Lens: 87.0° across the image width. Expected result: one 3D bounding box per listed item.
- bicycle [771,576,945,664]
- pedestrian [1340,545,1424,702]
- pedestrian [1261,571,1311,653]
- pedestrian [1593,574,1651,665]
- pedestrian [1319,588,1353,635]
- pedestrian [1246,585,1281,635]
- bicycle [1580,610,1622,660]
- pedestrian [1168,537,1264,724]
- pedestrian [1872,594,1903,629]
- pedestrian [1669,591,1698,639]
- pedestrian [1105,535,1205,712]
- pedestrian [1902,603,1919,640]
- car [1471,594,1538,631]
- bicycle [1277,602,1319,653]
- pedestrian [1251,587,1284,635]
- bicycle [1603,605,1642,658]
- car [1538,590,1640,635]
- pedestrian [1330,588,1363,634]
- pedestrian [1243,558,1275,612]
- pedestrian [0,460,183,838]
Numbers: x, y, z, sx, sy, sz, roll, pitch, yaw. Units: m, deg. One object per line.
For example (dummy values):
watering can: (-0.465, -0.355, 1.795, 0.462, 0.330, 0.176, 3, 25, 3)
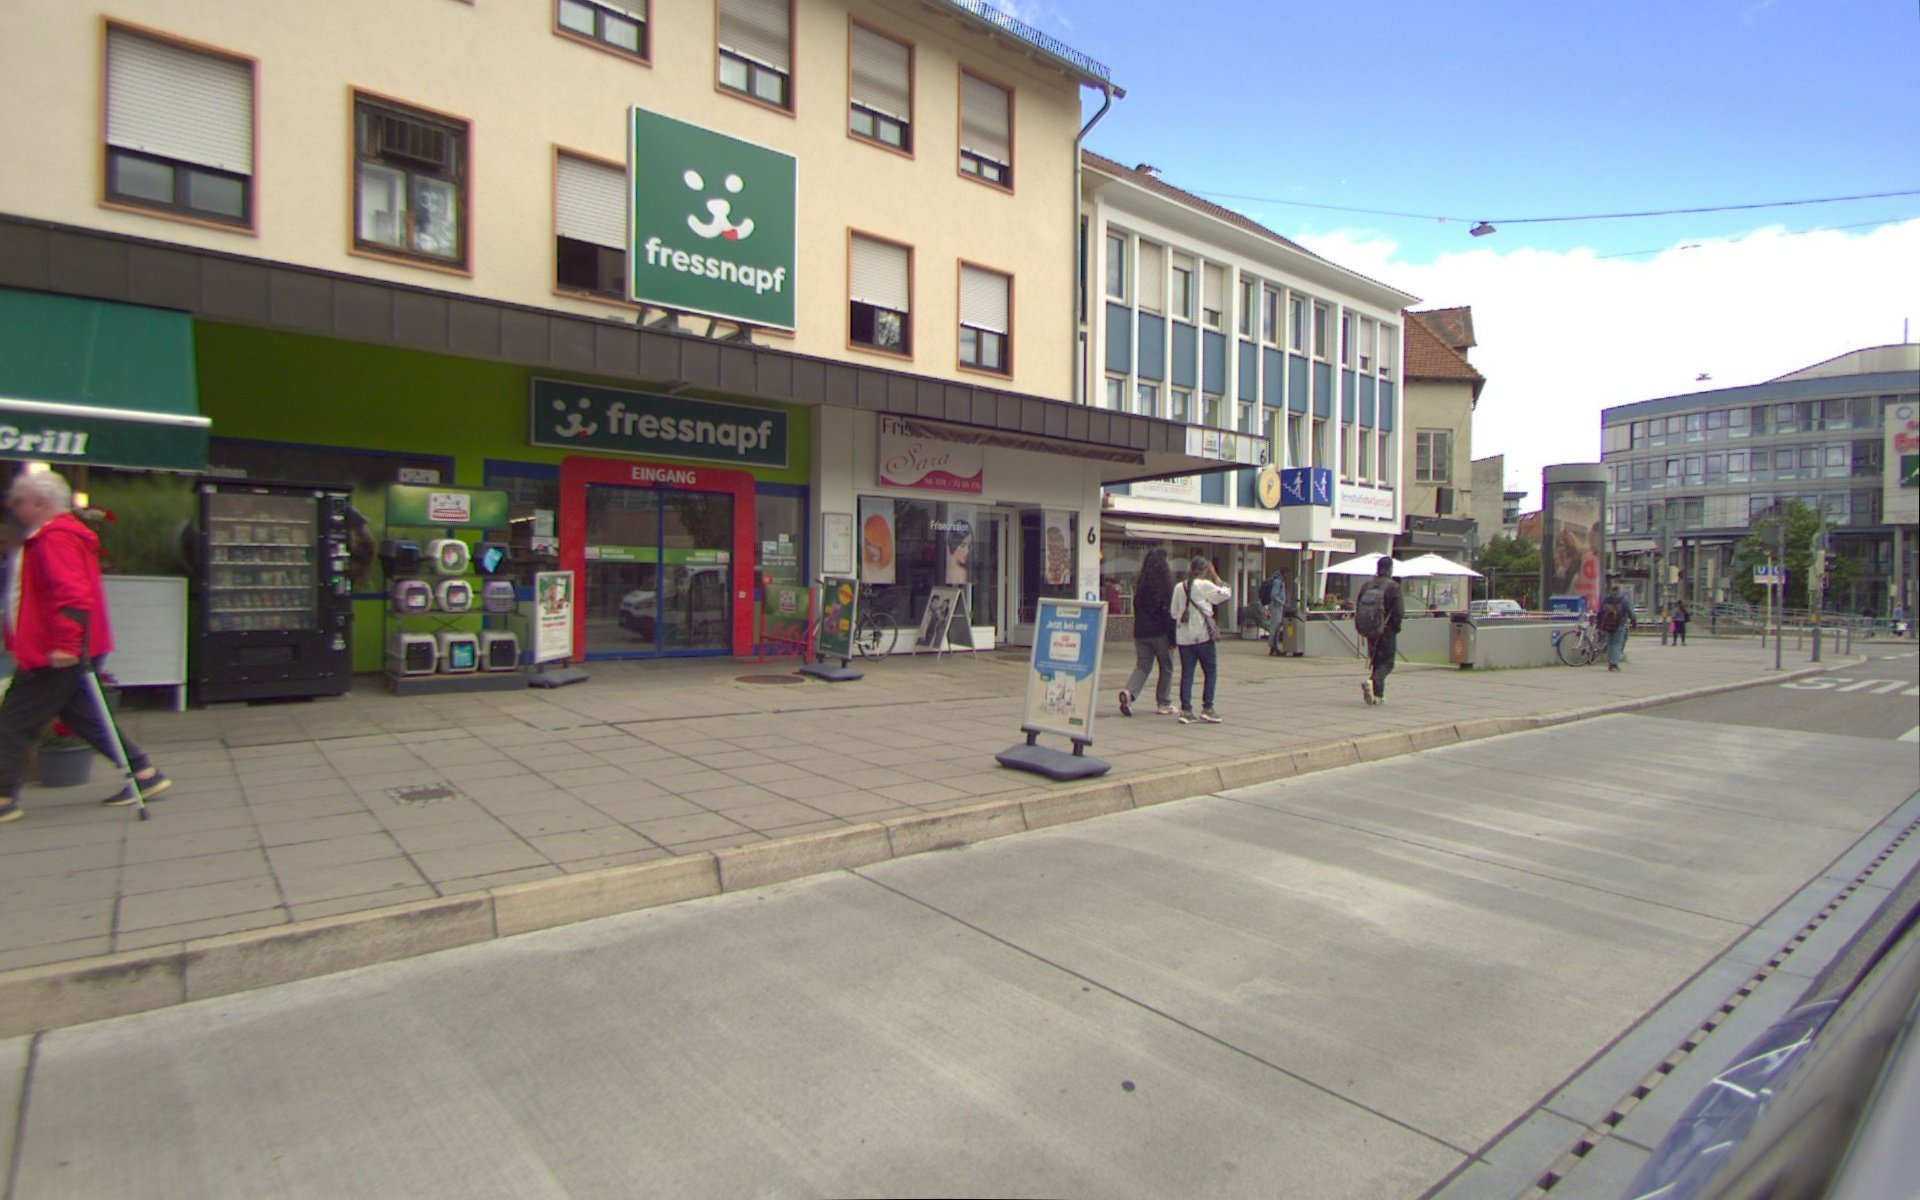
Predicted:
bicycle: (-1.330, 0.245, 13.589, 2.310, 1.076, 0.742, 0, 2, -42)
pedestrian: (4.721, 0.248, 11.323, 0.603, 1.699, 0.614, 1, 0, -37)
pedestrian: (6.681, 0.236, 20.743, 0.787, 1.655, 0.667, 1, 0, -42)
pedestrian: (12.364, 0.354, 18.902, 0.838, 1.655, 0.689, 1, 0, -41)
pedestrian: (10.082, 0.307, 27.139, 0.578, 1.235, 0.614, 1, 1, -42)
pedestrian: (7.680, 0.251, 25.634, 0.578, 1.236, 0.613, 1, -3, -42)
bicycle: (12.872, 0.692, 20.322, 1.362, 0.986, 0.274, 1, 0, -39)
pedestrian: (2.380, 0.257, 9.407, 0.604, 1.655, 0.613, 0, 2, -42)
pedestrian: (44.541, 0.572, 48.587, 0.834, 1.656, 0.641, -2, -2, 17)
pedestrian: (25.650, 0.537, 35.898, 0.580, 1.643, 0.740, -2, -2, 19)
pedestrian: (1.906, 0.207, 9.904, 0.604, 1.655, 0.720, 0, 2, -42)
pedestrian: (44.446, 0.996, 46.900, 0.795, 1.668, 0.884, 1, 0, 16)
car: (29.621, 0.635, 55.202, 1.851, 1.919, 4.911, 0, 0, 11)
bicycle: (6.811, 0.538, 20.390, 0.273, 0.986, 1.366, 1, 0, 42)
pedestrian: (7.999, 0.273, 26.337, 0.578, 1.235, 0.614, 1, -1, -42)
bicycle: (13.961, 0.654, 21.308, 1.362, 1.066, 0.274, 1, 0, -39)
car: (28.489, 0.510, 46.013, 1.847, 1.919, 4.922, 0, 0, 4)
pedestrian: (10.522, 0.309, 27.578, 0.578, 1.236, 0.613, 1, -3, -42)
pedestrian: (8.462, -0.417, 28.659, 0.577, 1.480, 0.614, 1, -3, -41)
pedestrian: (-4.535, 0.204, 5.185, 0.795, 1.763, 0.769, 4, 4, 45)
